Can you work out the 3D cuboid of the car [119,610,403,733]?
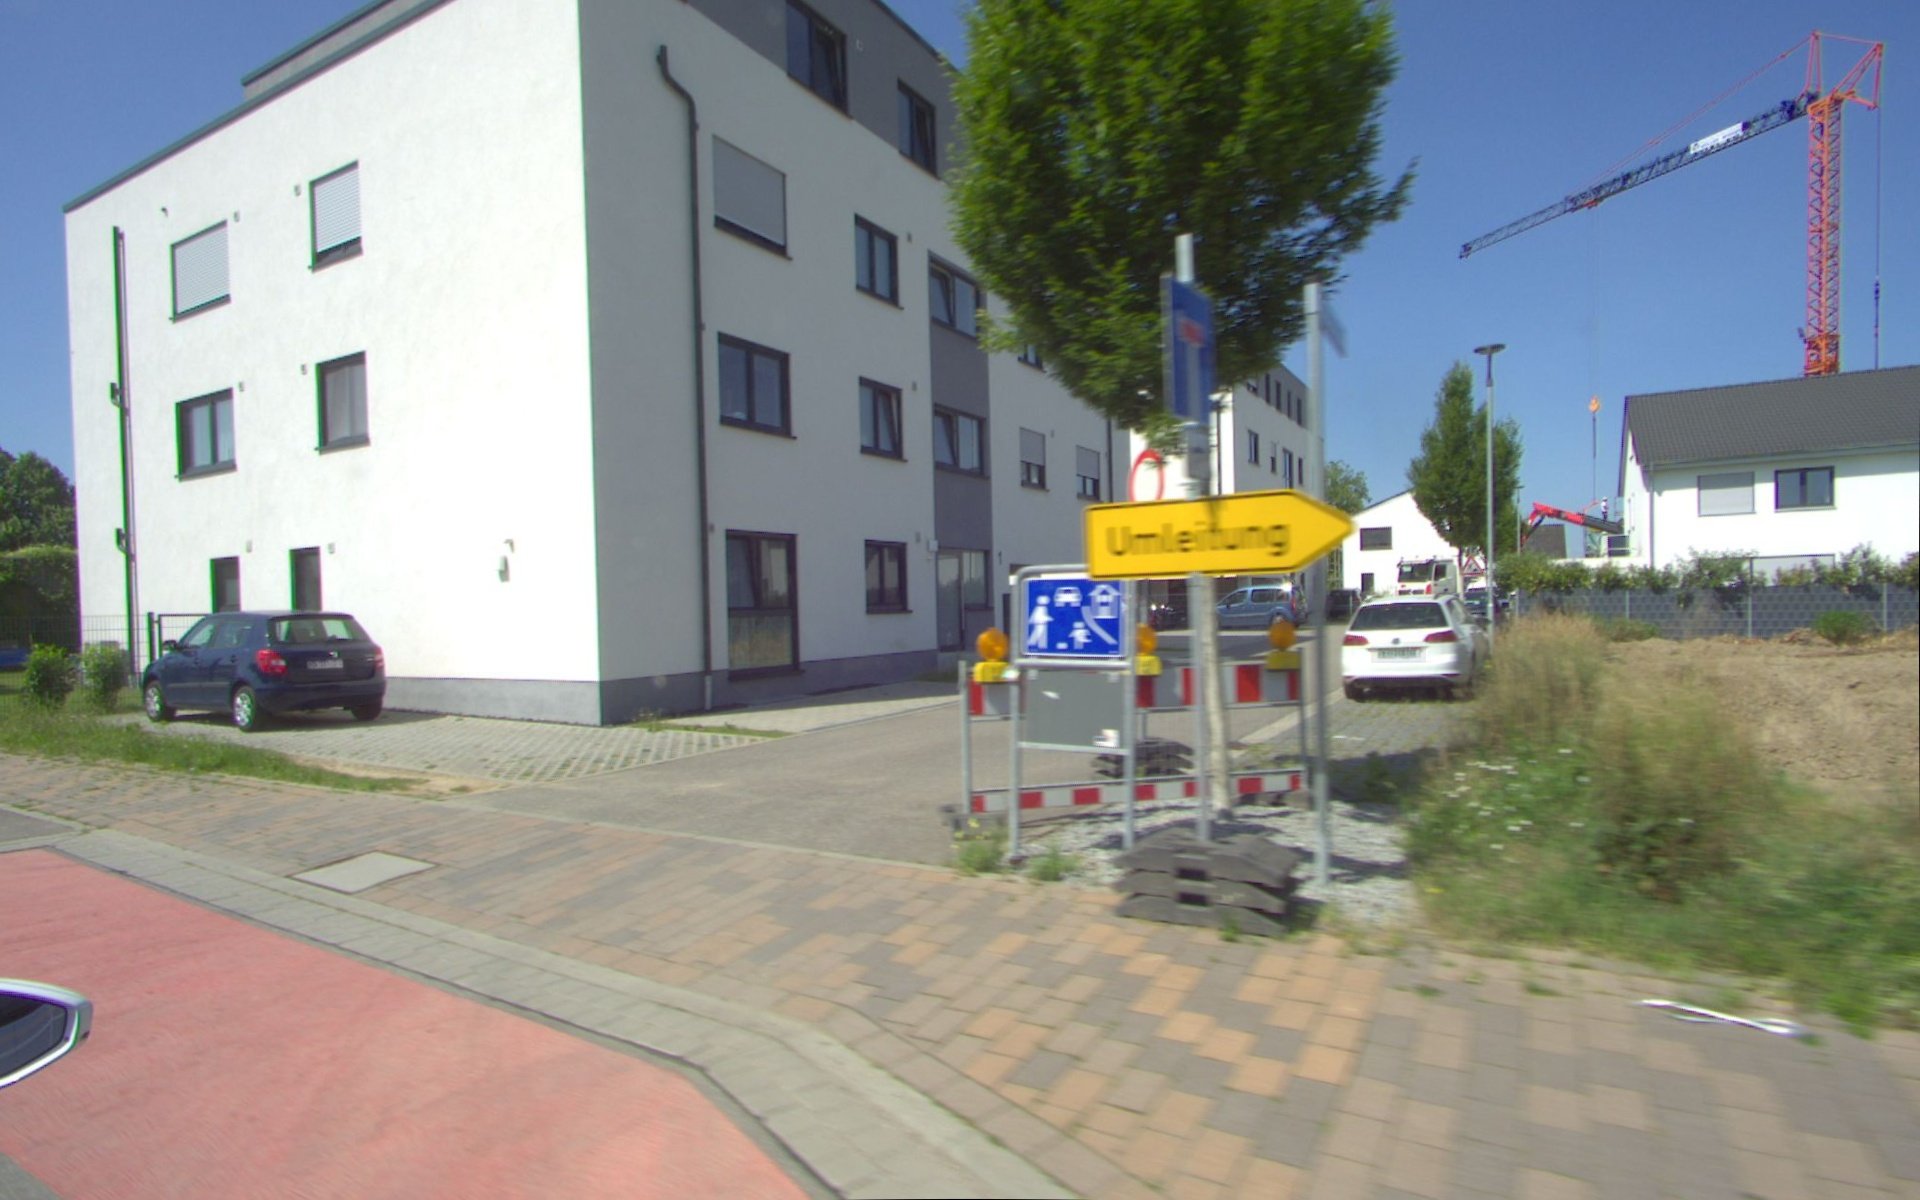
[{"bbox_3d":[-9.689,0.890,13.821,4.055,1.489,1.675,0,0,30],"label":"car"}]

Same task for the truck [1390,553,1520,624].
[{"bbox_3d":[26.077,-0.630,52.694,6.861,3.435,2.291,-2,-1,-26],"label":"truck"}]

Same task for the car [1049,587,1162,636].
[{"bbox_3d":[5.871,0.459,40.584,4.113,1.833,1.872,-2,0,32],"label":"car"}]

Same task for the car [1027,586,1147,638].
[{"bbox_3d":[4.813,0.453,38.157,4.113,1.833,1.872,-2,0,32],"label":"car"}]

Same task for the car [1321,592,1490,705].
[{"bbox_3d":[6.868,0.646,15.192,1.855,1.454,4.151,-2,0,30],"label":"car"}]

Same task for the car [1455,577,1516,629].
[{"bbox_3d":[20.456,0.101,38.921,1.855,1.861,4.151,-2,0,30],"label":"car"}]

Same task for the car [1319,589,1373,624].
[{"bbox_3d":[20.032,0.338,51.899,1.813,1.687,3.895,-2,0,33],"label":"car"}]

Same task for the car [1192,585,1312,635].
[{"bbox_3d":[11.489,0.407,39.507,4.117,1.833,1.870,-2,0,35],"label":"car"}]

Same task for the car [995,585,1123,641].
[{"bbox_3d":[3.493,0.482,35.554,4.113,1.833,1.872,-2,0,32],"label":"car"}]

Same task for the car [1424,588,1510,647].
[{"bbox_3d":[14.241,0.464,28.007,1.855,1.498,4.151,-2,0,30],"label":"car"}]
